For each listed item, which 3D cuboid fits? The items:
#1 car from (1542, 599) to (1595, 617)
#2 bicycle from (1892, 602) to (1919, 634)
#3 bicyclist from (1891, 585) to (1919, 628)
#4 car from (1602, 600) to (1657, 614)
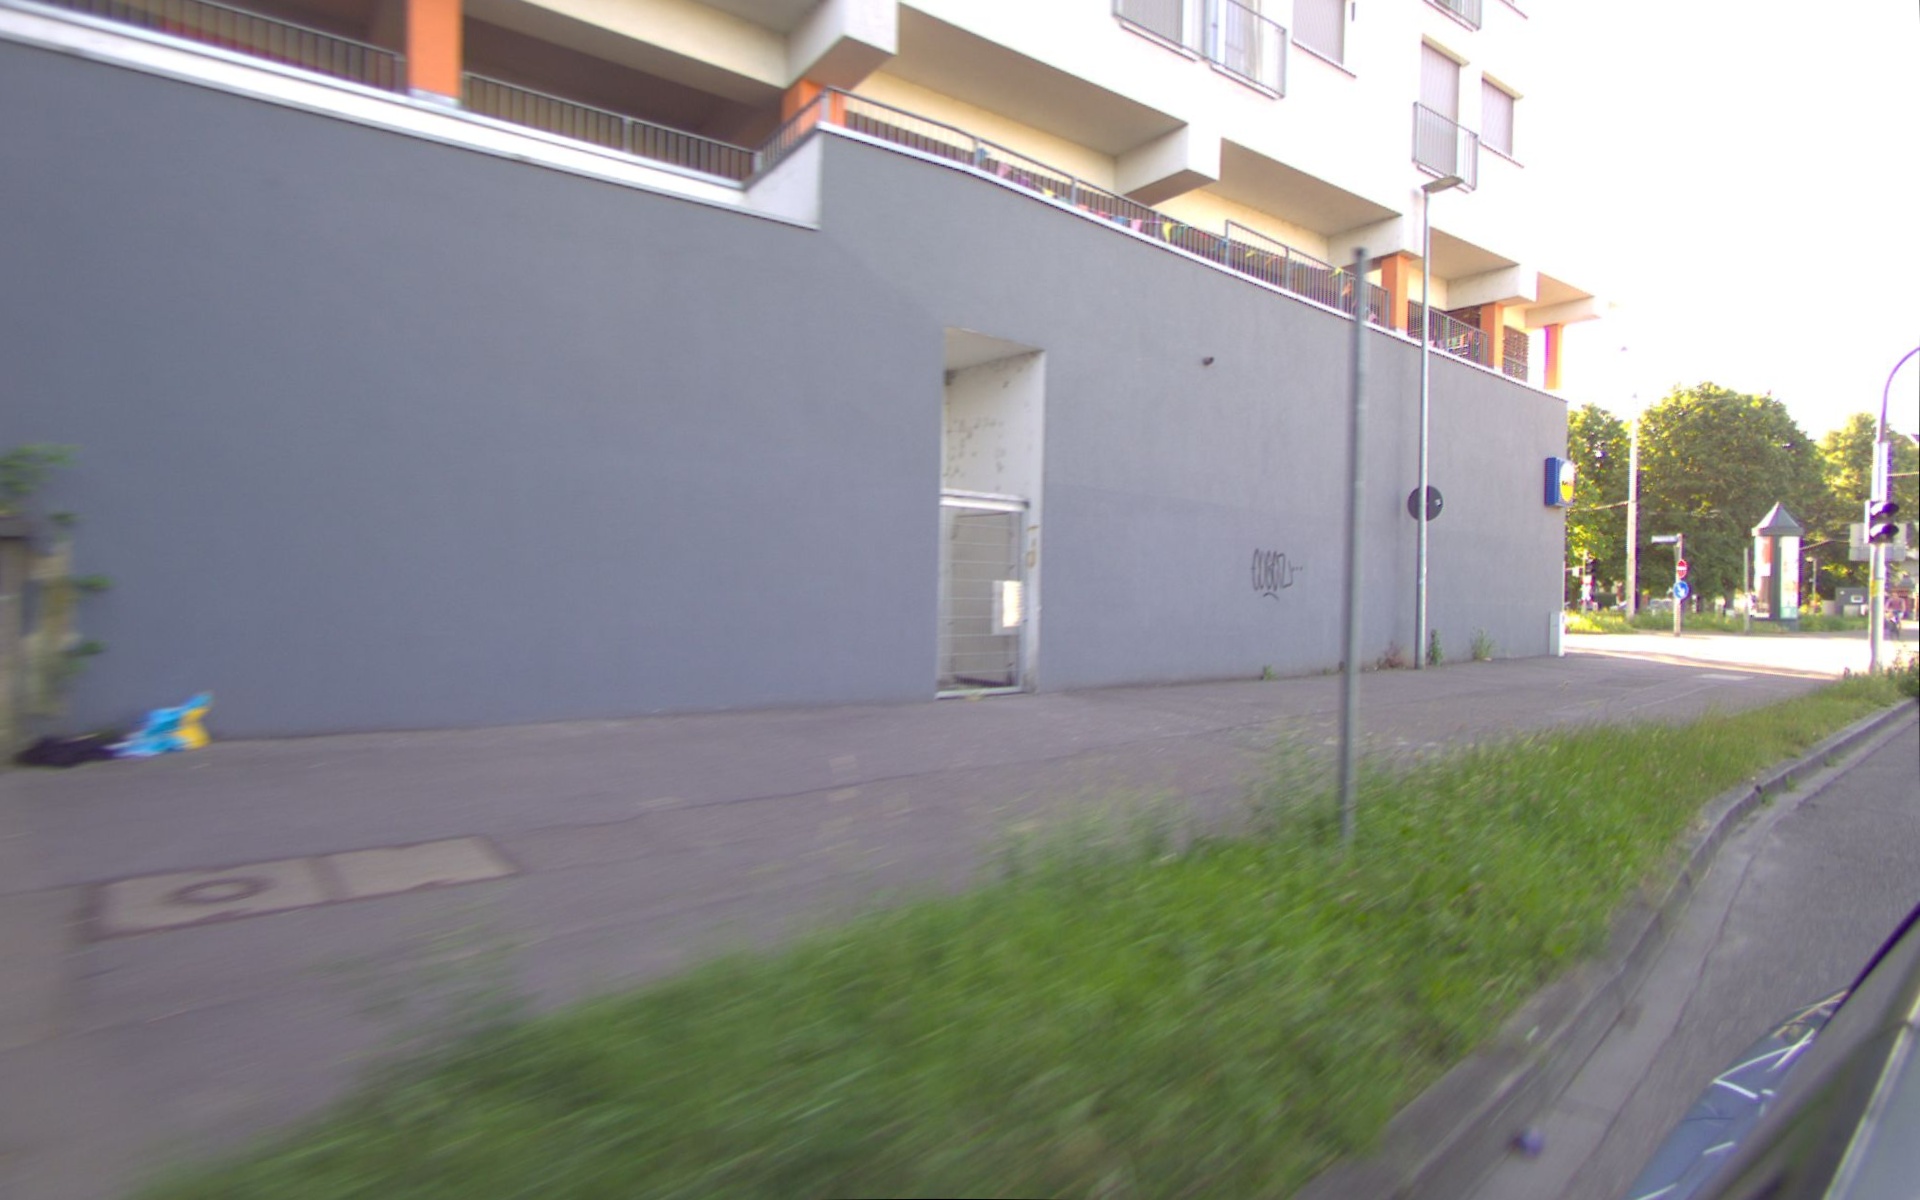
[{"bbox_3d":[61.806,0.772,102.820,4.111,1.738,1.998,-1,0,4],"label":"car"},{"bbox_3d":[36.985,0.705,39.449,1.966,1.207,0.720,1,1,-41],"label":"bicycle"},{"bbox_3d":[36.991,0.250,39.486,1.129,1.619,0.813,1,1,-41],"label":"bicyclist"},{"bbox_3d":[67.311,0.685,101.783,4.111,1.362,1.998,-1,0,4],"label":"car"}]
